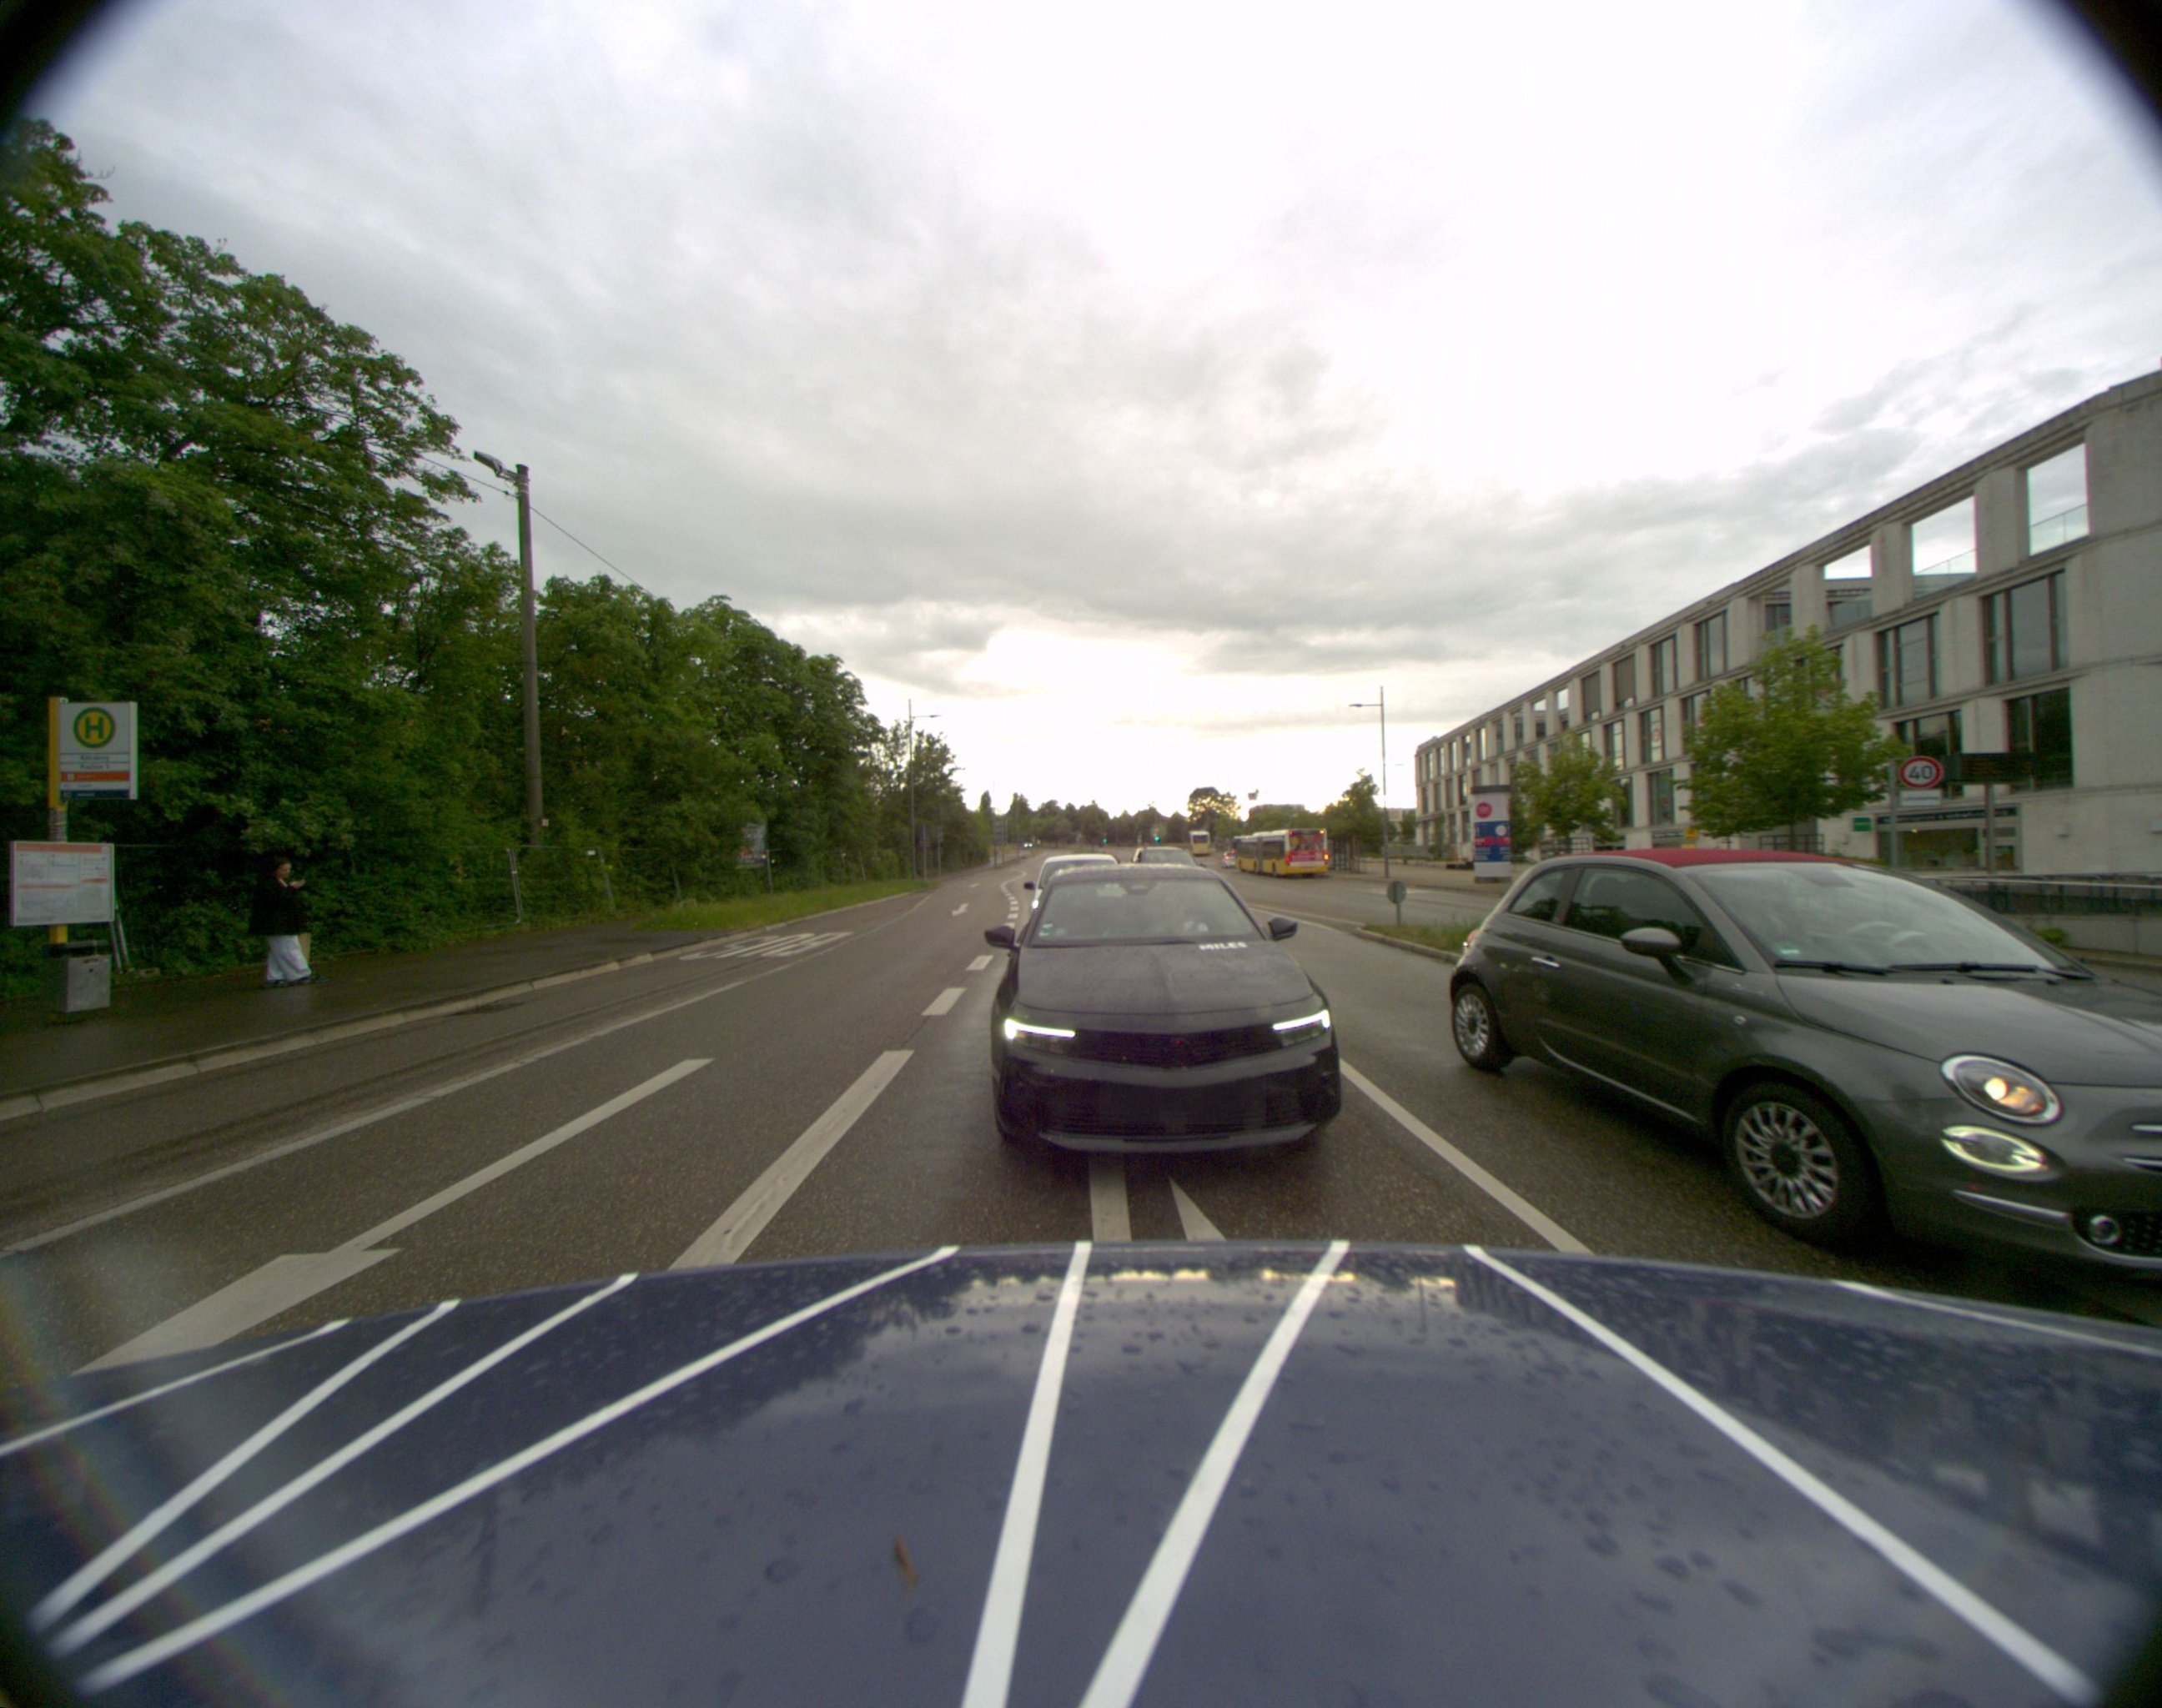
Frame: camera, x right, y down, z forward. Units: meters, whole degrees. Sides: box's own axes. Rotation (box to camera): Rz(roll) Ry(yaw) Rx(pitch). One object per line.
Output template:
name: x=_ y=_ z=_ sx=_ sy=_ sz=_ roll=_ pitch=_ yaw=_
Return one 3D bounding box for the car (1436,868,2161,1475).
car: x=3.432 y=0.865 z=3.758 sx=1.631 sy=1.473 sz=3.505 roll=-1 pitch=1 yaw=-2

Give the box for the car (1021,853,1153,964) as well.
car: x=0.109 y=0.811 z=13.668 sx=1.901 sy=1.524 sz=4.767 roll=-2 pitch=1 yaw=1

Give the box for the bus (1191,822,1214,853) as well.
bus: x=18.348 y=-2.399 z=113.784 sx=2.757 sy=4.129 sz=19.359 roll=-2 pitch=1 yaw=11

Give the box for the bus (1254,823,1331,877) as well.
bus: x=13.818 y=-0.300 z=50.530 sx=2.759 sy=3.194 sz=9.207 roll=-2 pitch=1 yaw=2

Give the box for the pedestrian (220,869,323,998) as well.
pedestrian: x=-10.599 y=1.019 z=9.965 sx=0.588 sy=1.618 sz=0.661 roll=-1 pitch=1 yaw=1

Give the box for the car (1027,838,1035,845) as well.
car: x=-14.536 y=-3.551 z=220.523 sx=2.000 sy=1.805 sz=3.996 roll=-2 pitch=1 yaw=-10

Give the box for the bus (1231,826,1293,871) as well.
bus: x=14.109 y=-0.438 z=60.035 sx=2.693 sy=3.163 sz=9.912 roll=-2 pitch=1 yaw=2

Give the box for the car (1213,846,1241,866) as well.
car: x=13.568 y=0.182 z=70.901 sx=1.867 sy=1.777 sz=3.999 roll=-2 pitch=1 yaw=1

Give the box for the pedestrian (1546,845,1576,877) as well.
pedestrian: x=24.434 y=0.366 z=38.676 sx=0.982 sy=1.572 sz=0.867 roll=-2 pitch=1 yaw=9

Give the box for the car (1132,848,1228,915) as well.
car: x=2.634 y=0.664 z=21.289 sx=1.934 sy=1.649 sz=4.617 roll=-1 pitch=0 yaw=-2

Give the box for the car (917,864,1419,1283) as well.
car: x=0.374 y=0.892 z=5.340 sx=1.901 sy=1.456 sz=4.767 roll=-2 pitch=1 yaw=1
